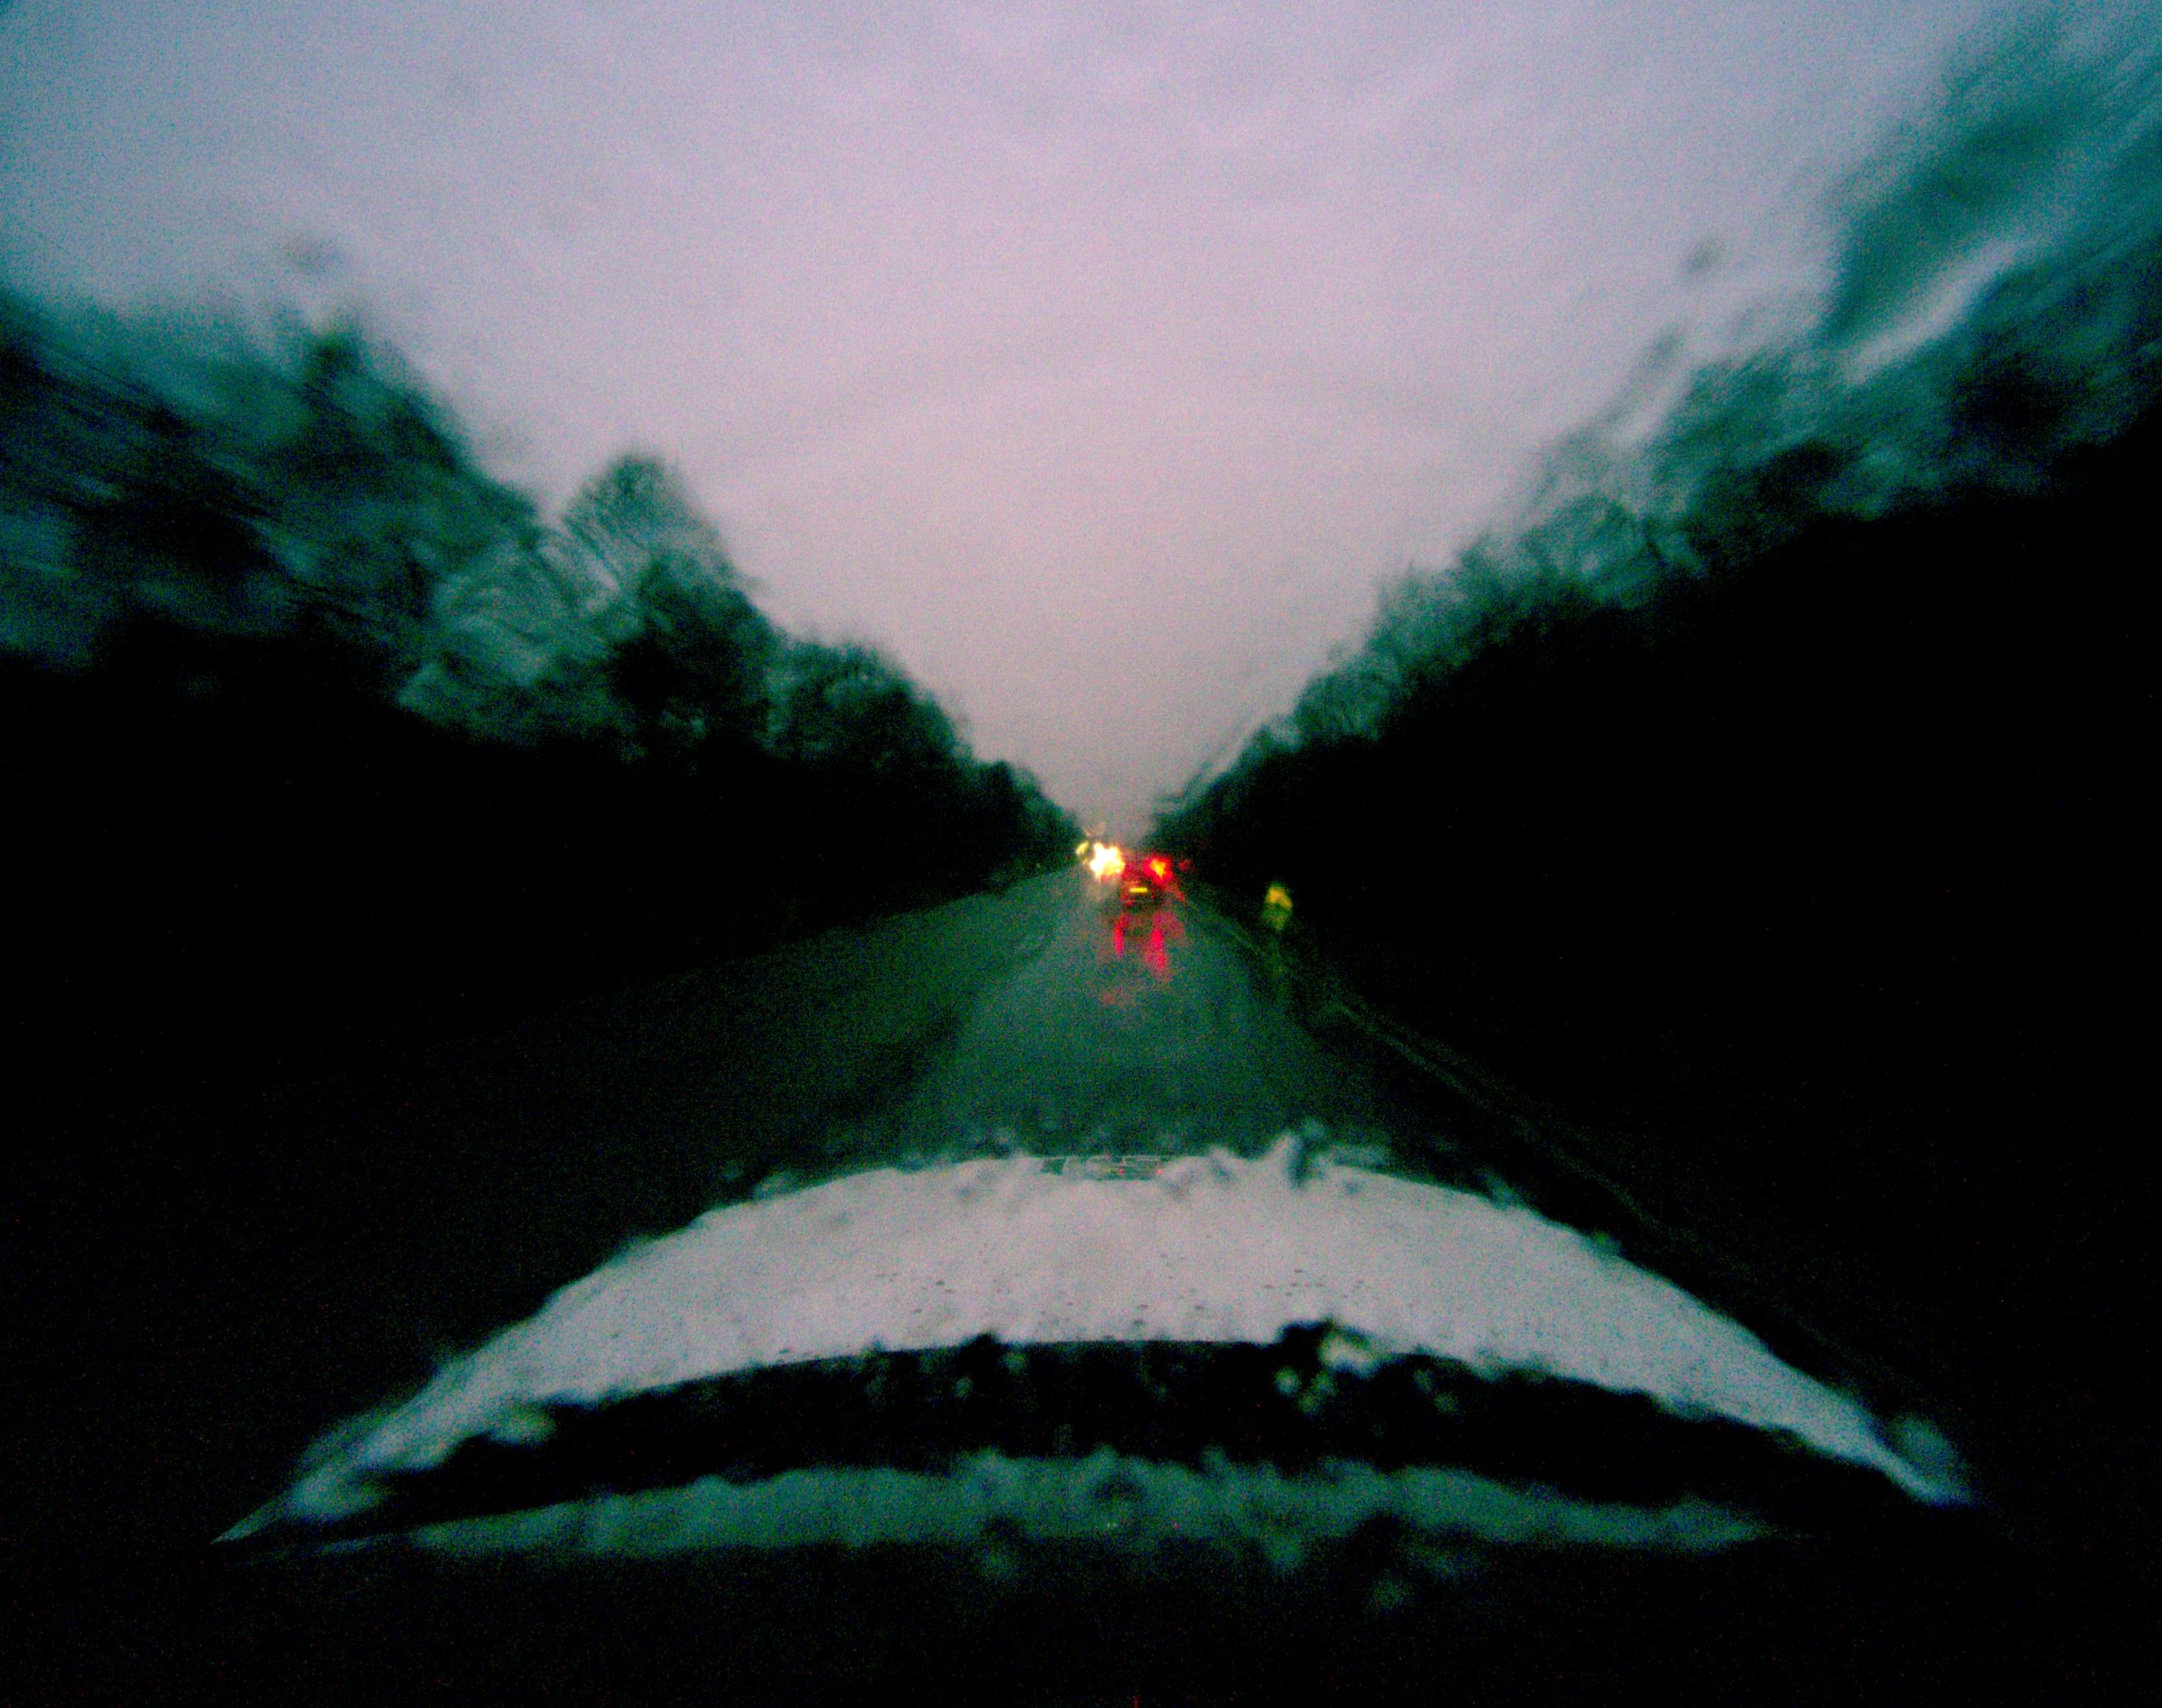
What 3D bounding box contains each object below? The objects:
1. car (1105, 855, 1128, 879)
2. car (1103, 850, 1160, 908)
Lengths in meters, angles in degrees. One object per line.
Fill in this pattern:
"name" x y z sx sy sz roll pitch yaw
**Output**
"car" 2.748 1.014 63.411 1.726 1.779 4.002 -1 0 2
"car" 1.591 0.731 25.350 1.641 1.672 3.517 -1 0 4
